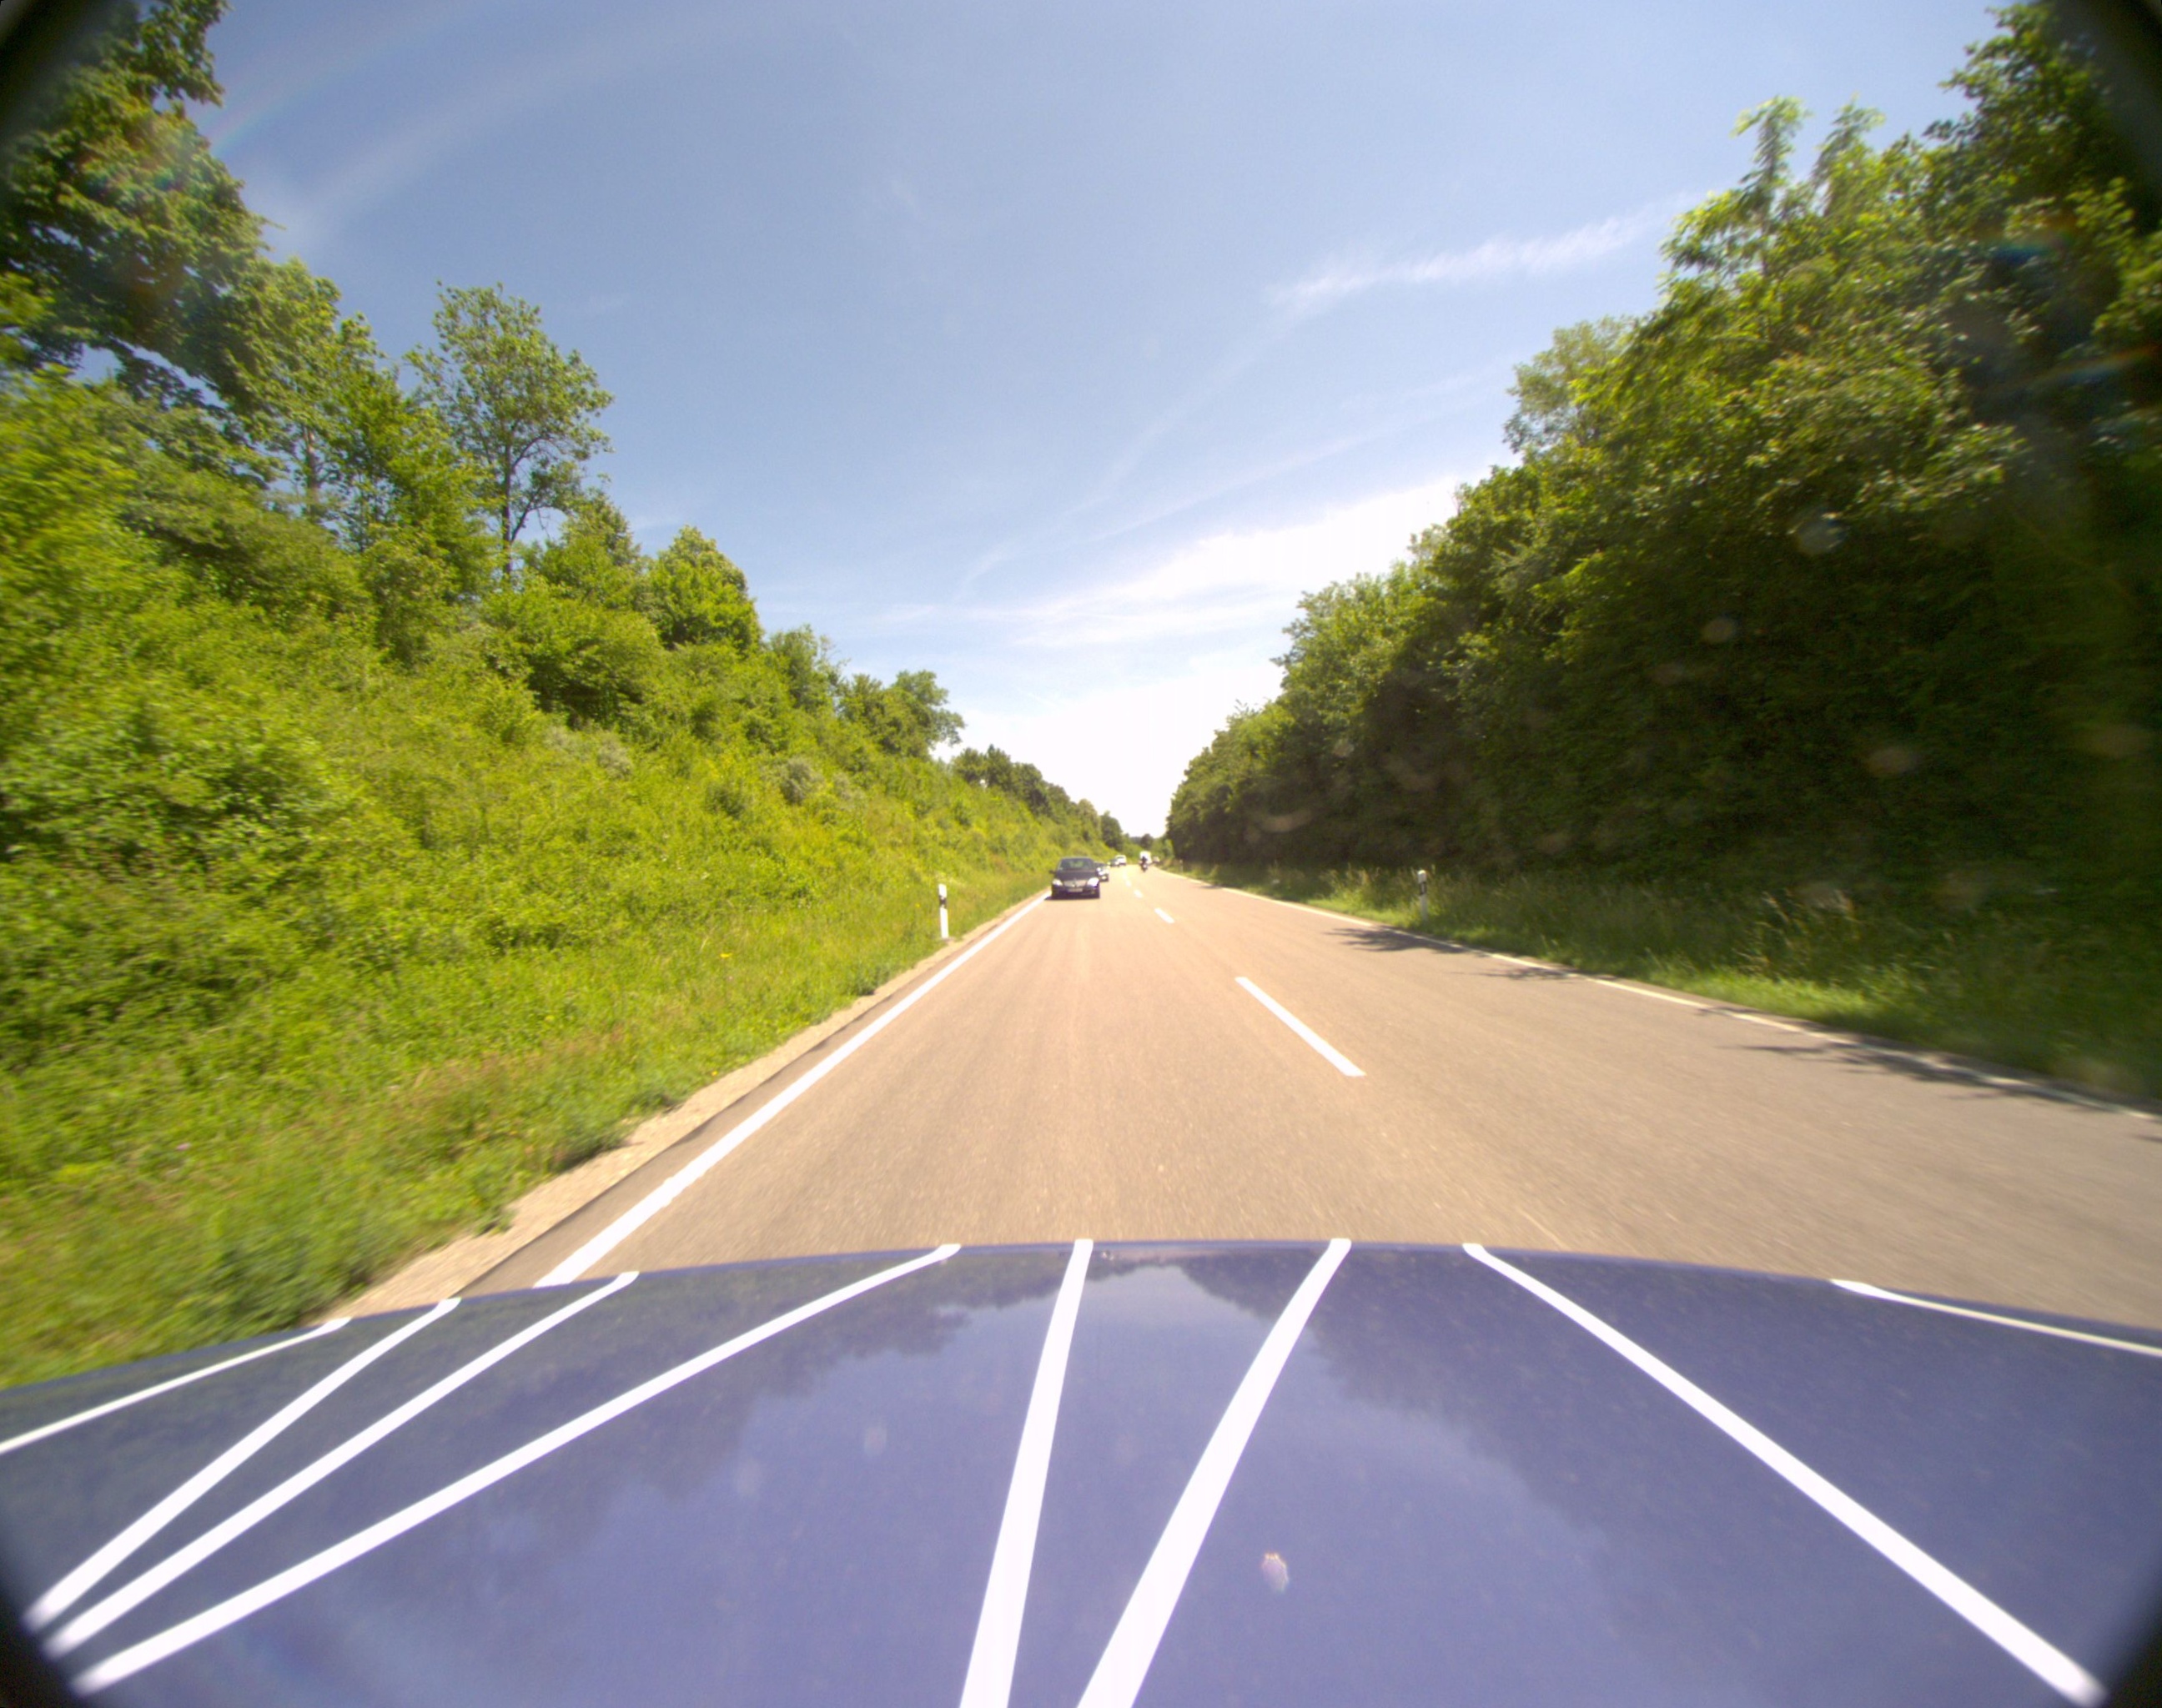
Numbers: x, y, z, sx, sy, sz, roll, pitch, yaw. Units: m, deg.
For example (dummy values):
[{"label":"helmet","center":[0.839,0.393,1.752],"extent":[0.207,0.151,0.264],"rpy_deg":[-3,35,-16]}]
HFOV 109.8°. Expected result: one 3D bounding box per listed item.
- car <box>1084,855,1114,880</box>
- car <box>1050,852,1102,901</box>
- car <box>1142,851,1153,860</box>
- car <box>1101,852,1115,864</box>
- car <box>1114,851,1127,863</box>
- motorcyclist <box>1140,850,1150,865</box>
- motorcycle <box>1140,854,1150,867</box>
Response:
[{"label":"car","center":[1.191,0.811,47.985],"extent":[1.709,1.444,5.415],"rpy_deg":[-2,0,2]},{"label":"car","center":[-0.103,0.799,29.480],"extent":[1.783,1.676,4.779],"rpy_deg":[-2,0,2]},{"label":"car","center":[11.344,0.251,130.377],"extent":[1.681,1.452,4.760],"rpy_deg":[-2,0,3]},{"label":"car","center":[4.154,0.633,115.297],"extent":[2.045,1.743,4.167],"rpy_deg":[-2,0,2]},{"label":"car","center":[7.189,0.497,138.815],"extent":[1.997,2.002,4.002],"rpy_deg":[-2,0,7]},{"label":"motorcyclist","center":[6.206,0.367,73.844],"extent":[0.851,1.429,1.074],"rpy_deg":[-2,0,2]},{"label":"motorcycle","center":[6.213,0.644,73.869],"extent":[0.866,1.214,2.443],"rpy_deg":[-2,0,2]}]
